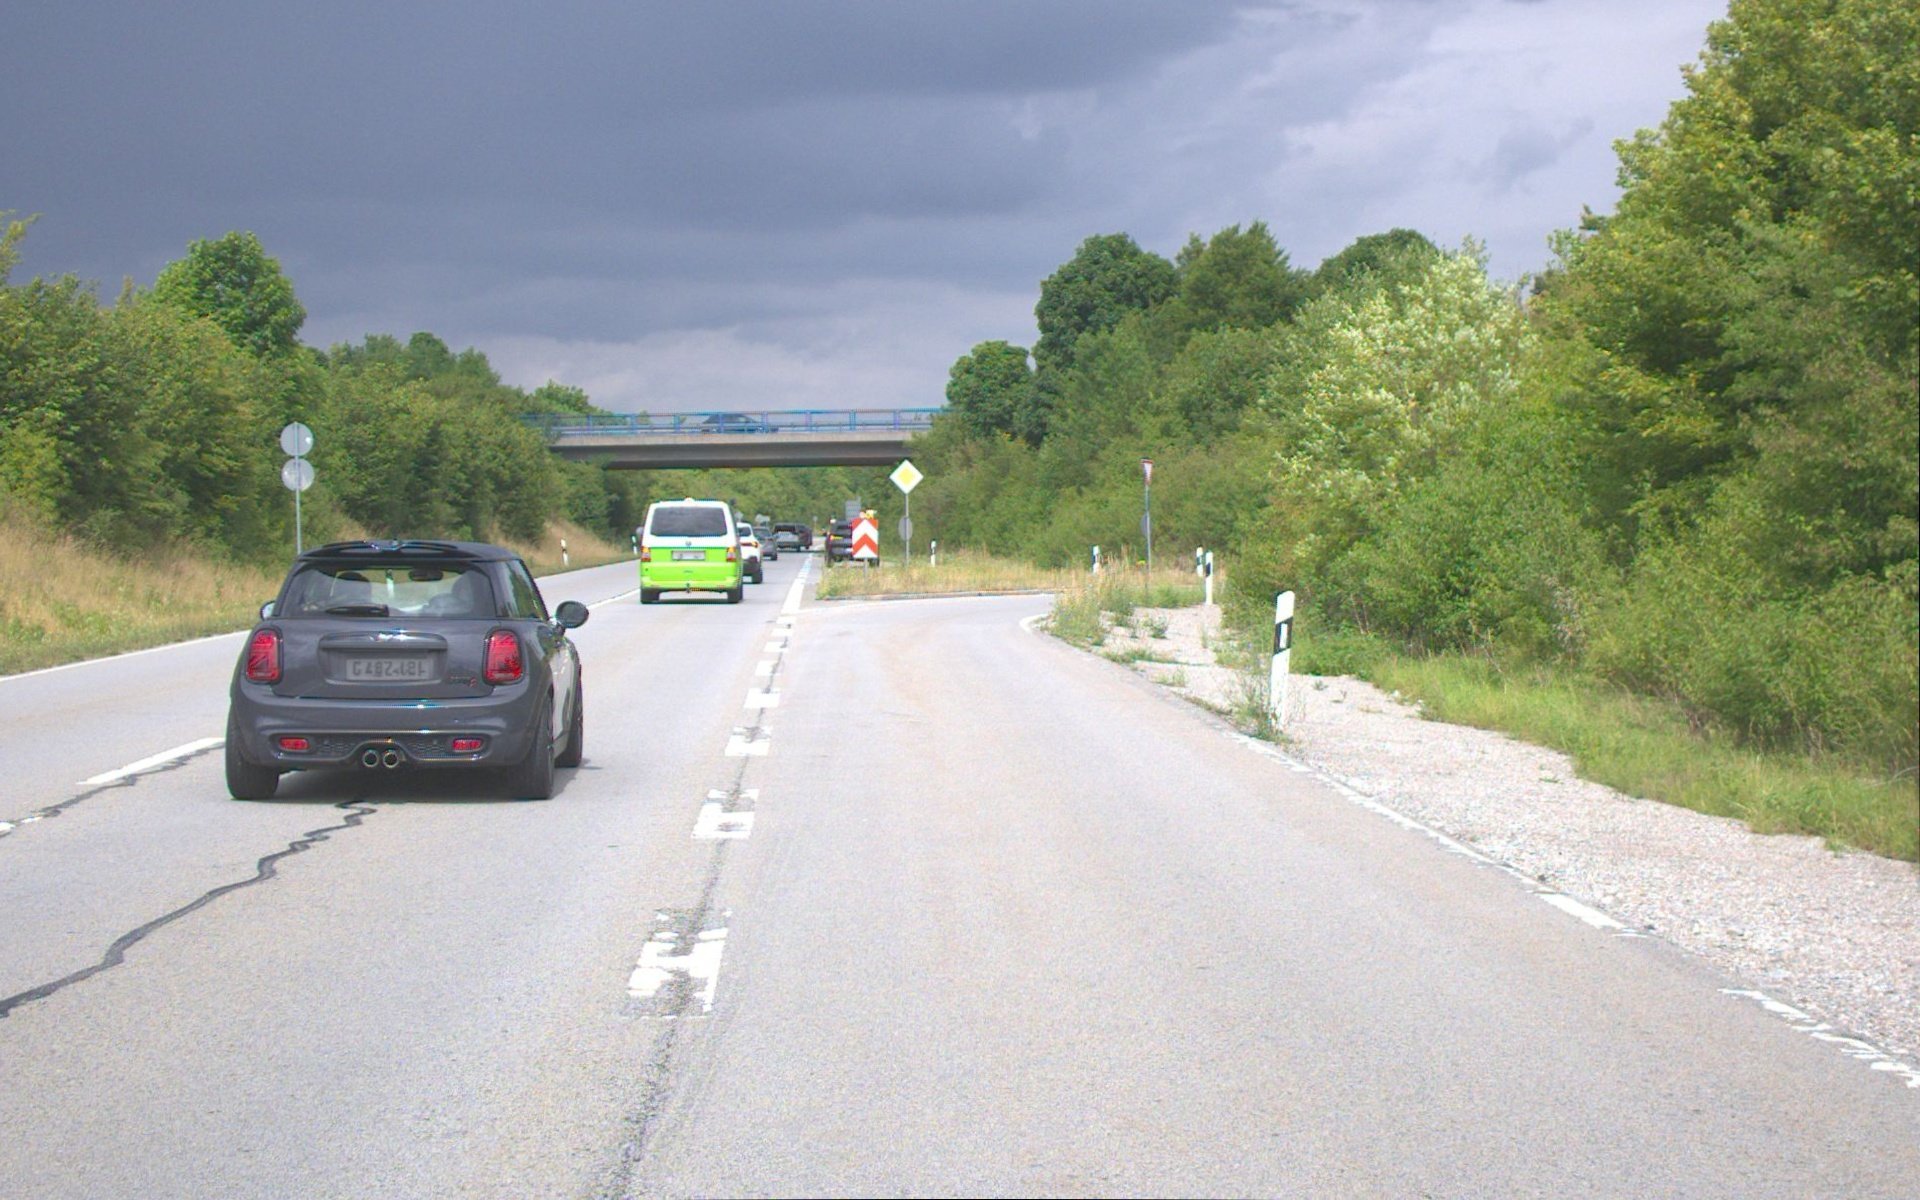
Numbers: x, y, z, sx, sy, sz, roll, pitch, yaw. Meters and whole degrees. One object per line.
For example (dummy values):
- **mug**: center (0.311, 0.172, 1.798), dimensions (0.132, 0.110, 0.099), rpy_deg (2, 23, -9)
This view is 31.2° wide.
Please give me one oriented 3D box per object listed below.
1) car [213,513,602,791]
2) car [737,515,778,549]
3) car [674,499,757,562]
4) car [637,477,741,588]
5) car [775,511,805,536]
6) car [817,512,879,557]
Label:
- **car**: center (-3.089, 0.223, 19.929), dimensions (1.756, 1.422, 4.001), rpy_deg (1, 1, -2)
- **car**: center (-8.607, -2.918, 146.616), dimensions (1.667, 1.398, 4.001), rpy_deg (0, 1, -2)
- **car**: center (-6.216, -1.777, 87.713), dimensions (1.993, 1.546, 4.001), rpy_deg (1, 1, -2)
- **car**: center (-5.162, -1.303, 65.959), dimensions (1.819, 2.047, 4.001), rpy_deg (1, 1, -2)
- **car**: center (-9.794, -4.440, 198.767), dimensions (1.667, 1.398, 4.001), rpy_deg (0, 1, -2)
- **car**: center (-4.023, -2.353, 122.939), dimensions (1.993, 1.546, 4.001), rpy_deg (1, 1, -4)
